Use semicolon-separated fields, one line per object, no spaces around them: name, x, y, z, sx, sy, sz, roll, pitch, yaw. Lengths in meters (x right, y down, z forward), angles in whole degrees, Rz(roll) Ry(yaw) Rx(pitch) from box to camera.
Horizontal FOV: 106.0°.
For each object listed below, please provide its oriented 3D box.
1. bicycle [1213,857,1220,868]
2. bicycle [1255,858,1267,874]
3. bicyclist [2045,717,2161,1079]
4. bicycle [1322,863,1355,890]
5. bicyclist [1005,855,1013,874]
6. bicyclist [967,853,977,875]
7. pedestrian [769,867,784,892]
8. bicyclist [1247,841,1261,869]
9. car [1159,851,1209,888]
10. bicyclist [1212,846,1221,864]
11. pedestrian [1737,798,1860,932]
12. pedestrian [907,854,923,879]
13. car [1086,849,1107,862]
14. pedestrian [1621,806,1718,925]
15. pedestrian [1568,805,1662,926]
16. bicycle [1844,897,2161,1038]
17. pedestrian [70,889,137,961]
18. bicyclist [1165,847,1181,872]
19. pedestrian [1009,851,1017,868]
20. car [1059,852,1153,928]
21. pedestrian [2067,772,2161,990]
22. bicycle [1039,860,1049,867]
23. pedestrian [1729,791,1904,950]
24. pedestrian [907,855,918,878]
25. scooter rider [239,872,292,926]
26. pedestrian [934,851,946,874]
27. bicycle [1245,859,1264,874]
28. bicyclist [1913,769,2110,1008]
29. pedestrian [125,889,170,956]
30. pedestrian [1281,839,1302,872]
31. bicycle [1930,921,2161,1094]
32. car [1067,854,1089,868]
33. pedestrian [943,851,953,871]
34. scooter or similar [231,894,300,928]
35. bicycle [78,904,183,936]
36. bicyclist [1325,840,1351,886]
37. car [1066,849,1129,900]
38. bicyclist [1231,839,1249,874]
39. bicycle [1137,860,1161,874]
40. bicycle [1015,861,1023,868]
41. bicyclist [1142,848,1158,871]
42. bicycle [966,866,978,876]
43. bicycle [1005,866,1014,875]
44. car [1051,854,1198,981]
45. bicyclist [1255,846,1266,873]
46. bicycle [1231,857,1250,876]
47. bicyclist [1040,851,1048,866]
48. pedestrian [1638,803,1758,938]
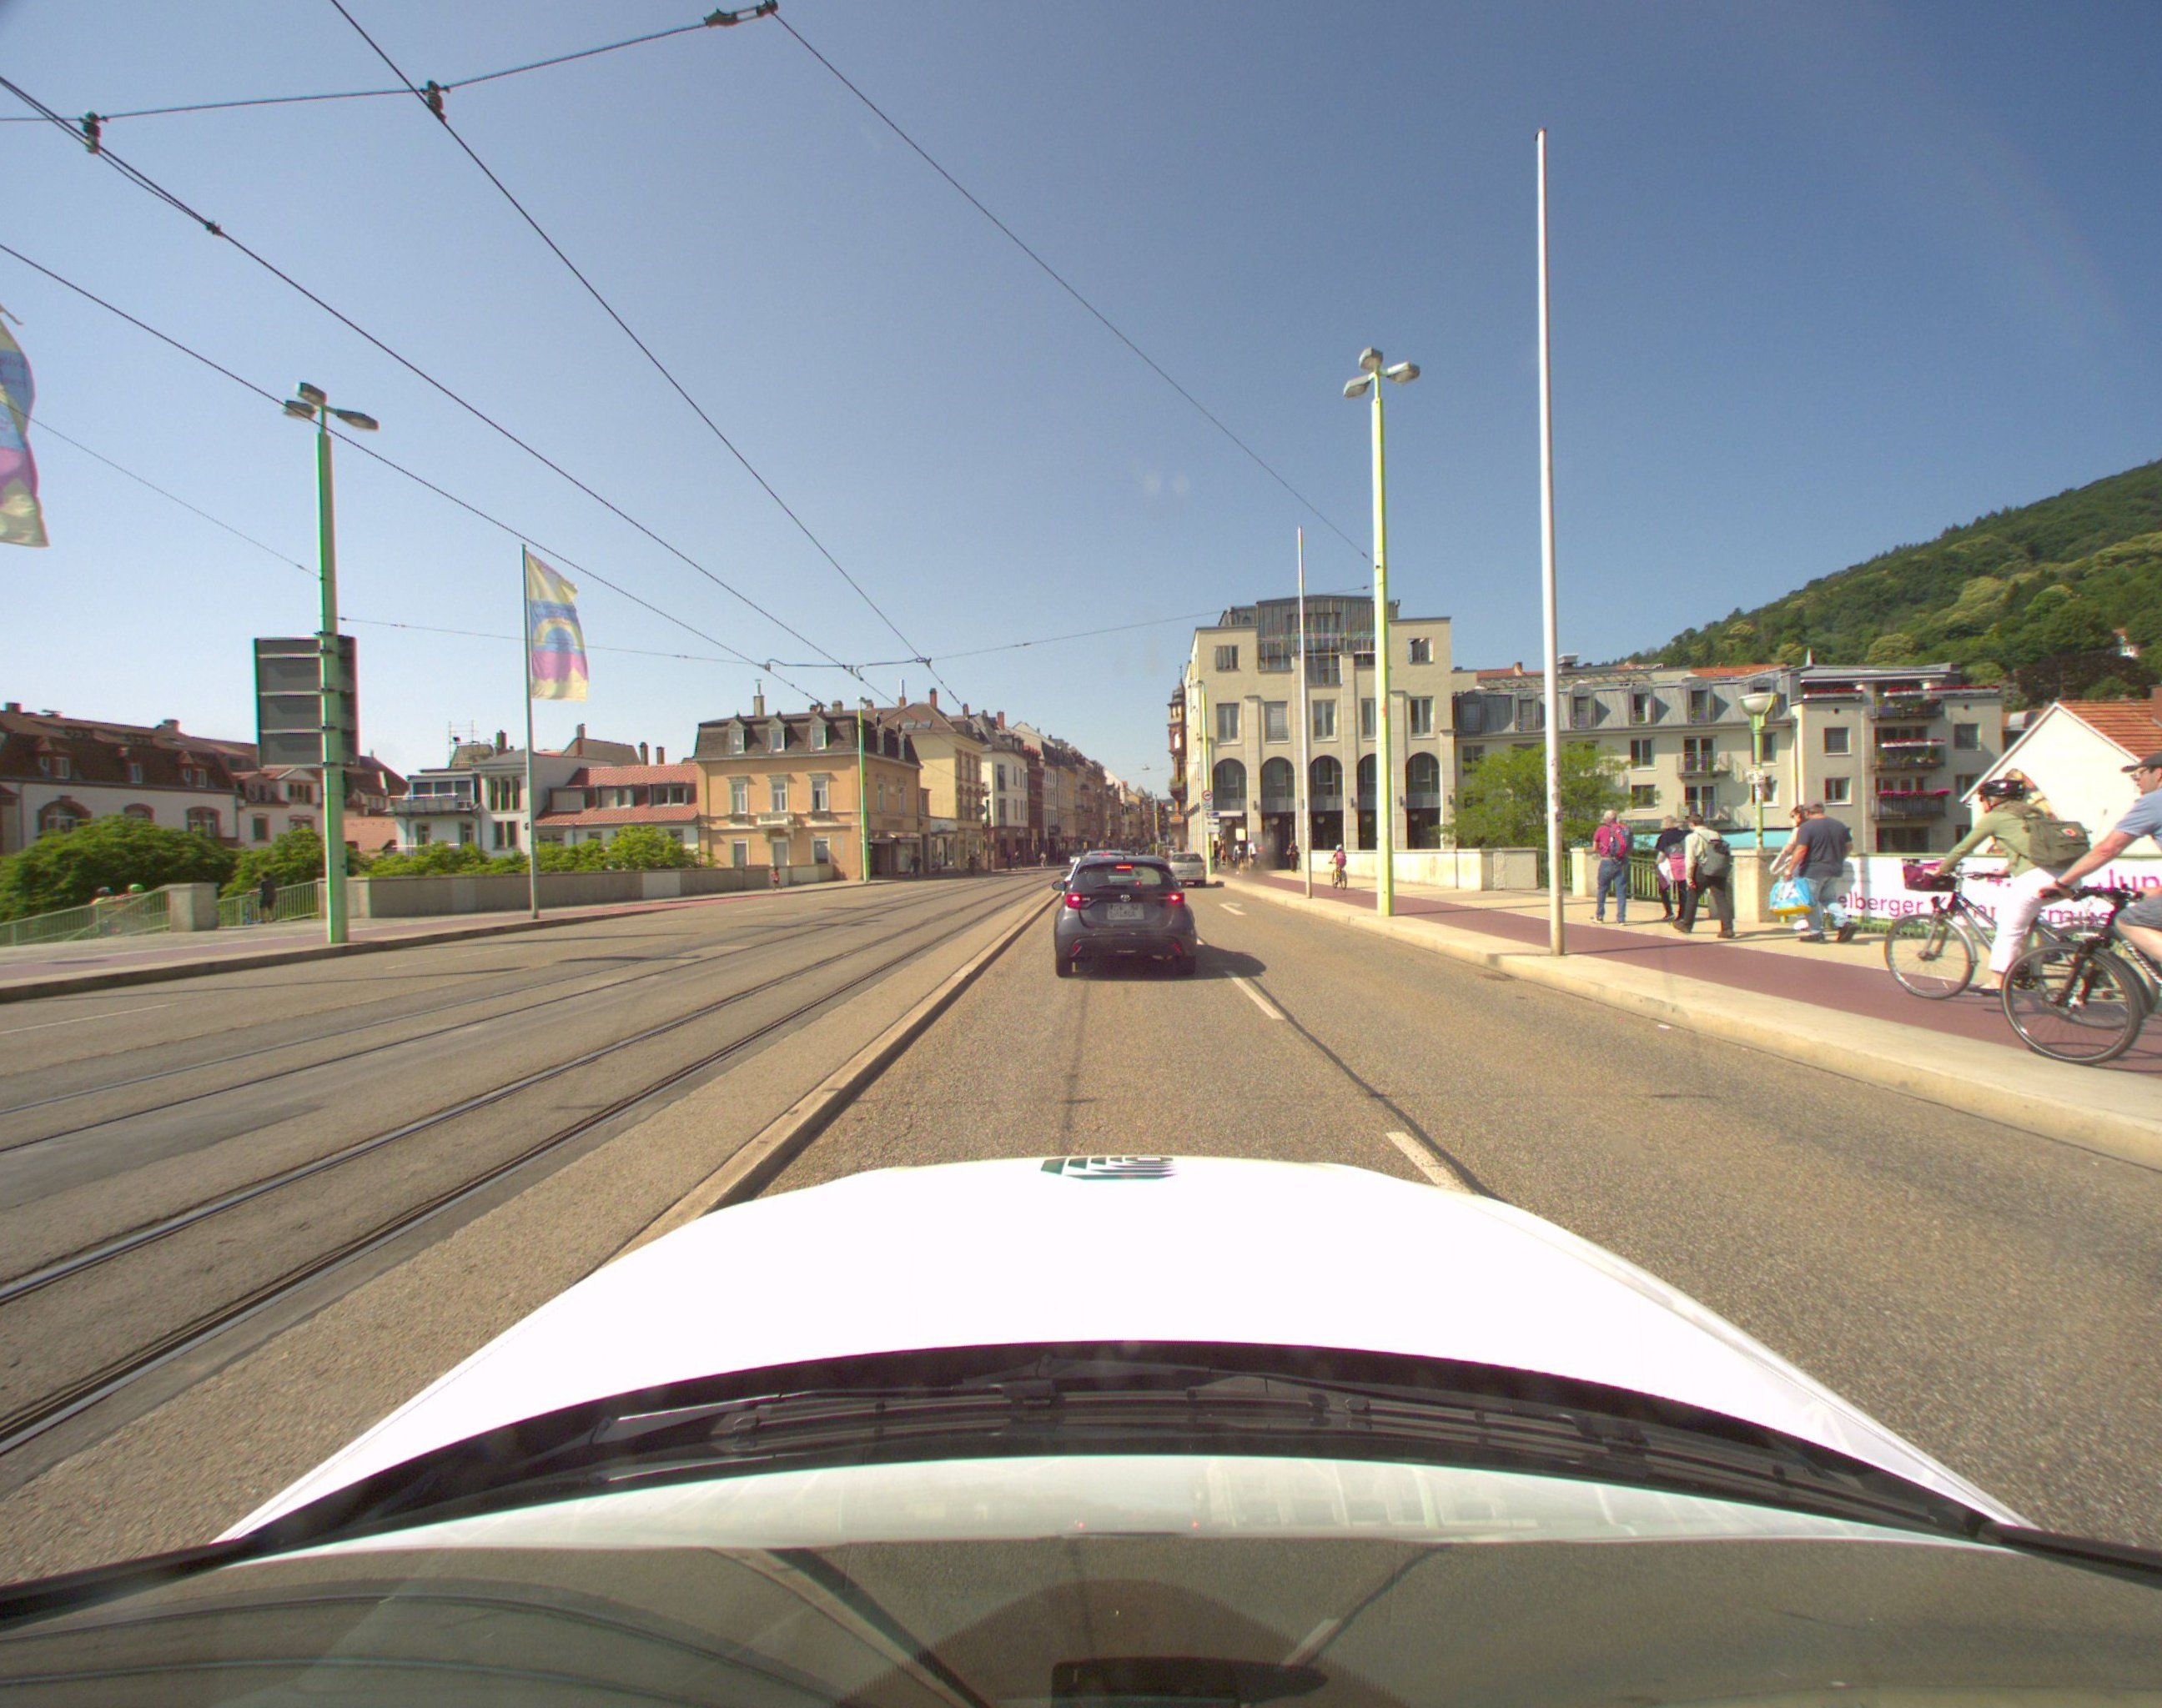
bicycle;10.233;0.652;61.327;0.414;0.765;1.208;-3;0;6
bicycle;9.290;0.611;42.007;0.415;0.765;0.962;-3;0;2
bicyclist;5.724;0.215;4.203;0.585;1.820;0.702;-3;0;-1
bicycle;7.991;0.674;25.293;0.512;0.765;1.661;-3;0;2
bicyclist;-6.599;0.953;74.803;0.625;1.650;0.622;0;1;2
bicyclist;-8.480;0.757;63.356;0.625;1.650;0.622;0;1;2
pedestrian;-14.725;1.226;39.390;0.409;1.146;0.546;3;0;8
bicyclist;9.305;0.050;43.882;0.487;1.466;0.438;-3;0;-37
car;4.374;0.623;35.189;1.699;1.466;4.327;0;0;1
bicyclist;10.186;0.087;61.245;0.535;1.316;0.673;-3;0;6
pedestrian;9.936;0.143;11.319;0.736;1.746;1.016;-3;0;1
pedestrian;-11.412;0.839;56.065;0.757;1.654;0.713;3;0;10
car;1.966;0.172;102.690;1.981;1.586;4.665;-2;0;10
pedestrian;9.346;0.176;12.975;0.736;1.777;1.016;-3;0;1
pedestrian;8.400;0.170;12.856;0.736;1.802;1.016;-3;0;1
bicycle;6.885;0.764;6.079;0.592;0.765;1.866;-3;0;-1
pedestrian;-25.502;1.827;21.263;0.741;1.781;0.803;-2;0;8
bicyclist;9.782;0.559;86.359;1.235;2.529;1.095;3;0;-28
pedestrian;-7.139;0.555;85.533;0.733;1.766;0.787;-1;1;2
car;0.557;0.723;18.514;1.890;1.530;4.001;0;0;1
pedestrian;8.859;0.197;6.471;0.736;1.718;1.016;-3;0;1
bicycle;-3.913;1.013;86.162;0.616;0.716;2.051;0;1;11
pedestrian;8.938;0.185;9.972;0.974;1.777;1.208;-3;0;1
pedestrian;-12.110;0.896;58.551;0.646;1.602;0.566;3;2;2
scooter rider;-21.063;1.144;21.032;0.763;1.315;0.600;2;0;13
pedestrian;-10.950;0.640;63.205;0.733;1.766;0.787;3;0;2
bicycle;9.347;0.659;43.859;0.420;0.765;0.951;-3;0;-37
bicyclist;6.860;0.240;6.042;0.585;1.650;0.702;-3;0;-1
pedestrian;-23.181;1.698;20.231;0.623;1.632;0.413;1;0;3
pedestrian;10.703;0.087;41.385;0.736;1.615;1.016;3;0;1
bicycle;5.752;0.822;4.281;0.592;0.765;1.866;-3;0;-1
car;-0.301;0.763;90.846;1.720;1.460;4.386;-2;0;10
pedestrian;-11.251;0.592;68.880;0.646;1.602;0.566;3;2;2
scooter or similar;-21.012;1.449;21.004;0.774;0.782;0.964;3;0;13
bicycle;-23.220;1.600;19.913;1.919;0.716;0.623;0;1;4
bicyclist;7.970;0.284;25.304;0.532;1.383;0.669;-3;0;2
car;0.553;0.608;26.638;1.890;1.530;4.001;0;0;1
bicyclist;7.900;0.123;40.486;0.699;1.695;0.925;-2;0;2
bicycle;7.649;1.439;91.423;1.118;1.420;2.979;3;0;-29
bicycle;-6.462;1.103;85.266;0.618;0.716;1.772;-1;1;2
bicyclist;7.738;0.639;91.471;1.234;2.529;1.095;3;0;-26
bicycle;-8.491;1.315;63.315;0.618;0.716;1.772;0;1;2
bicycle;-6.593;1.501;74.765;0.618;0.716;1.732;0;1;2
car;0.560;0.738;11.355;1.713;1.473;3.659;0;0;1
bicyclist;9.273;0.274;42.042;0.420;1.383;0.444;-3;0;1
bicycle;7.923;0.629;40.531;0.701;0.882;1.526;-3;0;2
bicyclist;-3.909;0.483;86.166;0.623;1.650;0.623;0;1;10
pedestrian;8.405;0.217;11.139;0.752;1.718;1.073;-3;0;1
